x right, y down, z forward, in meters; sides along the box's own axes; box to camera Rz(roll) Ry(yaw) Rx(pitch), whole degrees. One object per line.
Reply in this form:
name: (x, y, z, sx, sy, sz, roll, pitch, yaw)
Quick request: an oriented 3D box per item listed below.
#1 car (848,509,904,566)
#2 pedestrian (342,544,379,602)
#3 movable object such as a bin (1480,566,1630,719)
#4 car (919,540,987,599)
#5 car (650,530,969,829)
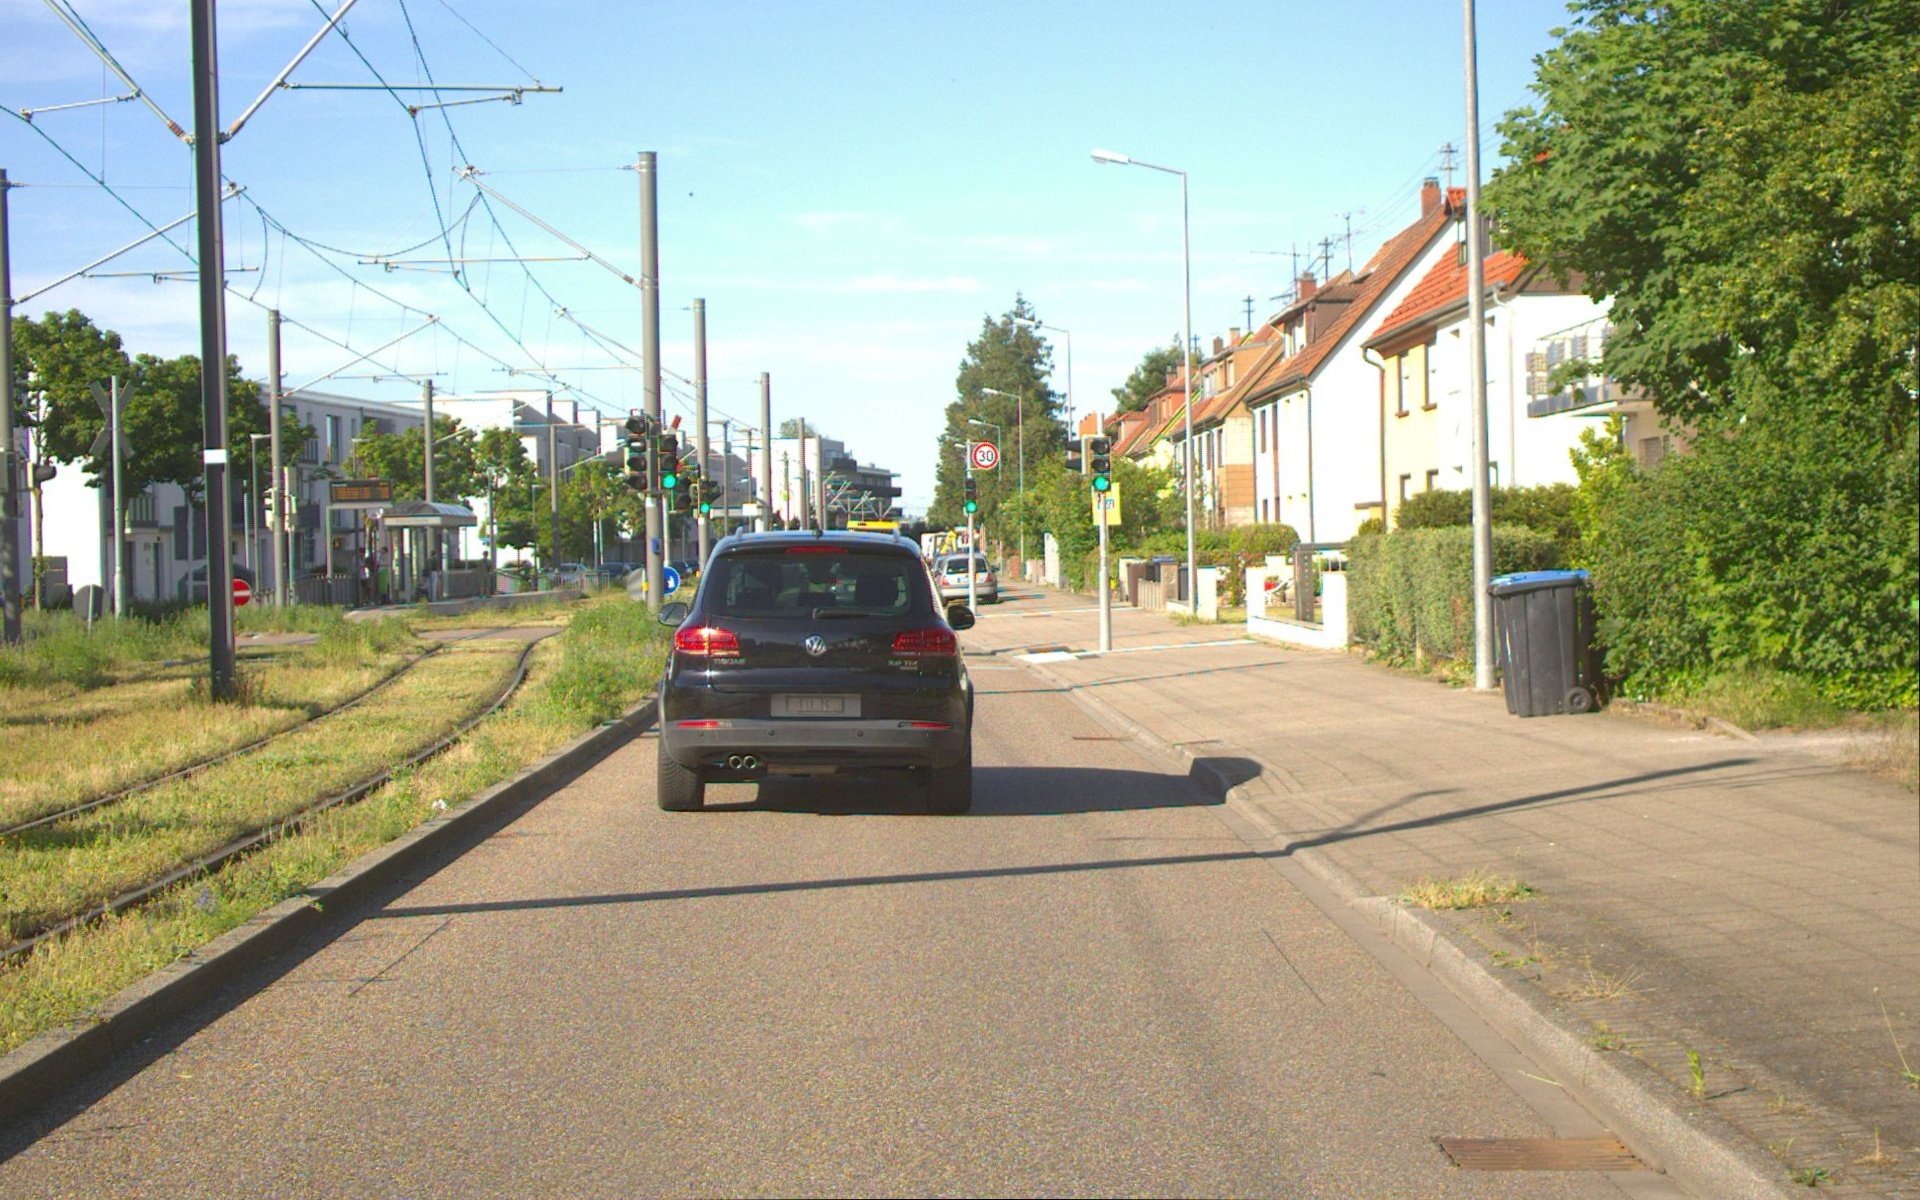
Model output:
car: (-3.829, -2.887, 158.455, 2.394, 2.556, 5.530, -1, 1, 0)
pedestrian: (-16.633, -0.757, 95.378, 0.881, 1.581, 0.628, -1, 1, -18)
movable object such as a bin: (4.548, 0.312, 26.349, 0.976, 1.107, 1.170, -1, 1, 3)
car: (-0.222, -0.908, 100.014, 1.775, 1.664, 4.001, -1, 1, -3)
car: (-0.930, 0.416, 21.189, 1.775, 1.664, 4.001, 0, 1, -3)
